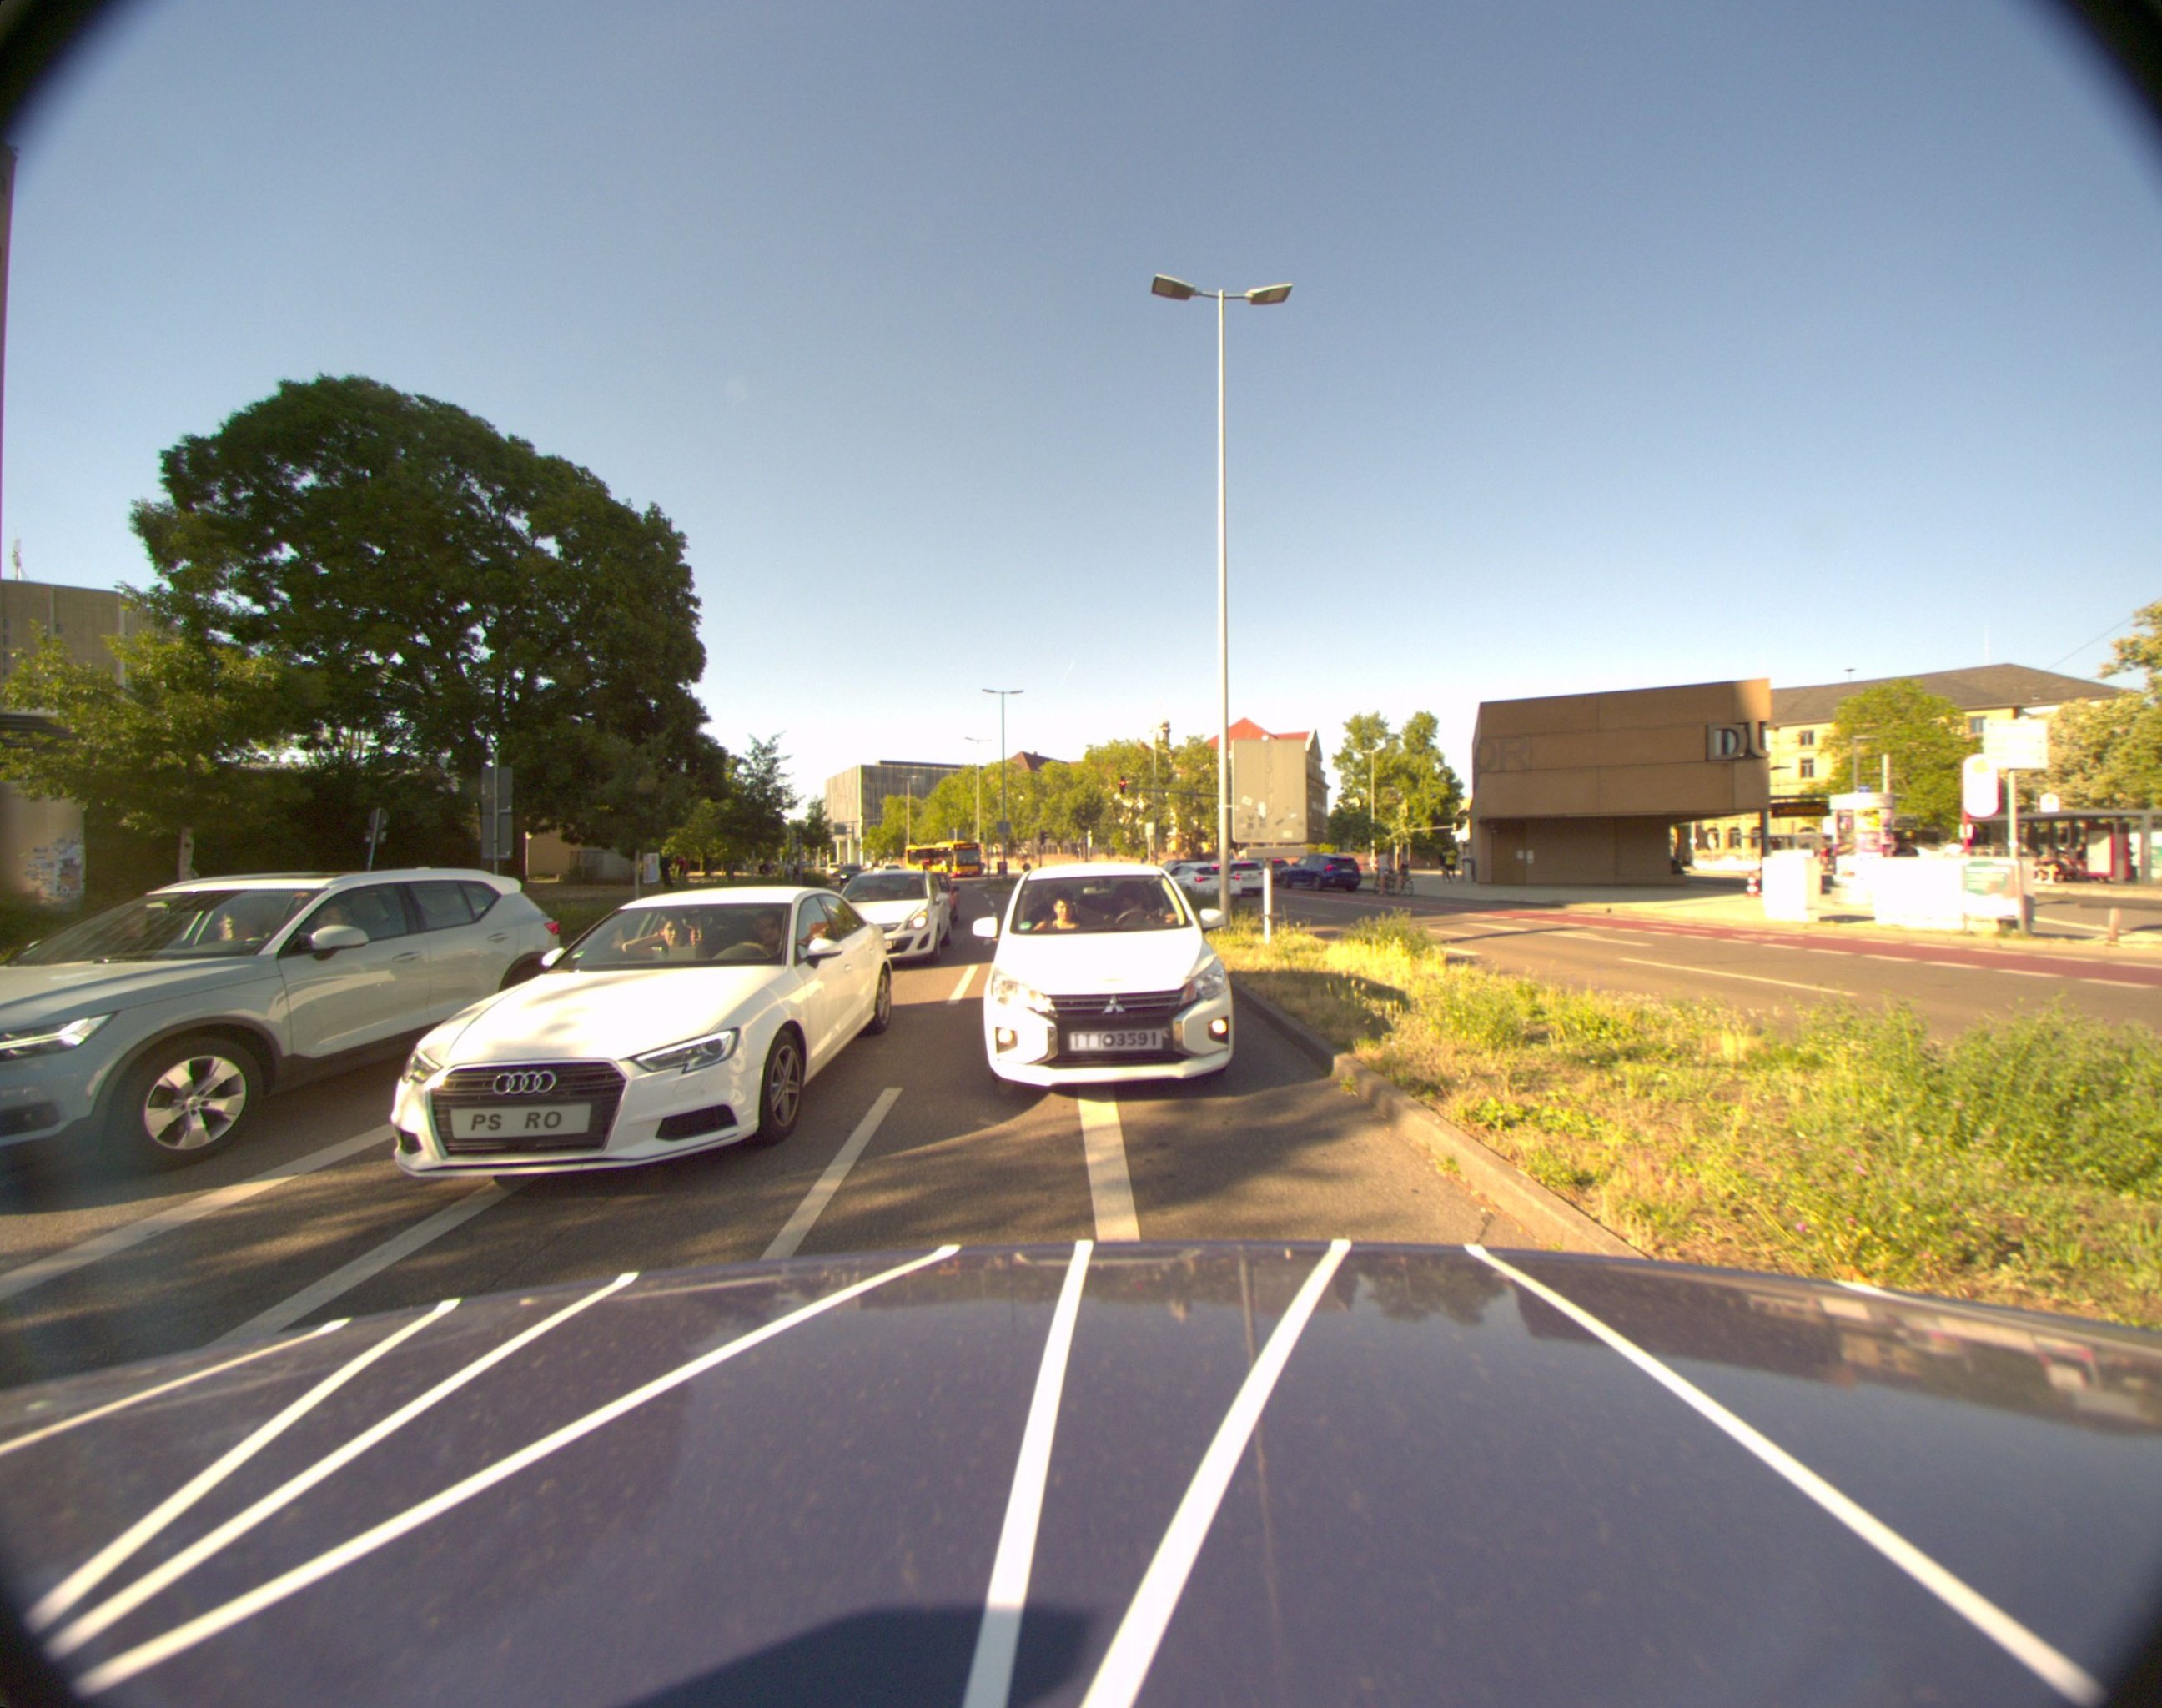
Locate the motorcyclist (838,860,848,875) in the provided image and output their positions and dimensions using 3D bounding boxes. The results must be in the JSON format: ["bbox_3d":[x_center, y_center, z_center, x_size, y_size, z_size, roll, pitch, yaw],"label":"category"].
[{"bbox_3d":[-21.966,1.253,70.136,0.719,1.297,0.734,-3,1,-21],"label":"motorcyclist"}]

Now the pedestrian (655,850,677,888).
[{"bbox_3d":[-17.886,0.639,32.773,0.596,1.585,0.594,-2,1,-8],"label":"pedestrian"}]

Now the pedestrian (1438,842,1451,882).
[{"bbox_3d":[18.428,0.379,38.531,0.467,2.002,0.657,-2,1,17],"label":"pedestrian"}]

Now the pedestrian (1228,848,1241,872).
[{"bbox_3d":[12.423,0.479,61.550,0.797,1.886,0.612,0,1,40],"label":"pedestrian"}]

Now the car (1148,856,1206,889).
[{"bbox_3d":[4.719,0.854,37.893,1.756,1.451,4.185,-2,1,-8],"label":"car"}]

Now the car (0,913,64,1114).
[{"bbox_3d":[-8.754,1.240,3.895,1.628,1.451,4.040,-2,1,-2],"label":"car"}]

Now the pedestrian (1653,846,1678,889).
[{"bbox_3d":[27.823,0.648,36.170,0.780,2.002,0.771,-3,2,-42],"label":"pedestrian"}]

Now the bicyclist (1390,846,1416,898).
[{"bbox_3d":[12.475,0.691,29.426,0.611,2.002,0.708,-1,1,-15],"label":"bicyclist"}]

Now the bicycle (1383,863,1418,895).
[{"bbox_3d":[12.440,0.977,29.615,0.464,1.185,1.395,-3,1,-17],"label":"bicycle"}]

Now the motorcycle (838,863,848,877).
[{"bbox_3d":[-22.009,1.472,70.193,0.719,1.297,2.231,-3,1,-21],"label":"motorcycle"}]

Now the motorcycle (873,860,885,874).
[{"bbox_3d":[-19.095,1.235,71.828,0.719,1.297,2.230,-3,1,-23],"label":"motorcycle"}]

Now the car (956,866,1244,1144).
[{"bbox_3d":[0.060,0.911,6.447,1.628,1.451,4.040,-2,1,-2],"label":"car"}]

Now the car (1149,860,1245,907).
[{"bbox_3d":[4.018,0.978,27.123,1.757,1.451,4.183,-2,1,-16],"label":"car"}]

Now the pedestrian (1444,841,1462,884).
[{"bbox_3d":[17.643,0.384,36.067,0.655,2.002,0.469,-2,1,20],"label":"pedestrian"}]

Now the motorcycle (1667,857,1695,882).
[{"bbox_3d":[26.243,0.699,33.253,0.948,1.061,0.331,-1,1,39],"label":"motorcycle"}]

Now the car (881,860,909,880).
[{"bbox_3d":[-15.200,1.255,61.872,1.758,1.451,4.182,-3,1,-19],"label":"car"}]

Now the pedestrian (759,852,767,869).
[{"bbox_3d":[-29.418,0.600,70.213,0.548,1.597,0.603,-3,1,-19],"label":"pedestrian"}]

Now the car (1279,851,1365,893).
[{"bbox_3d":[10.424,0.715,33.196,1.757,1.680,4.184,-1,0,-12],"label":"car"}]

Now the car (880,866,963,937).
[{"bbox_3d":[-3.894,1.095,19.110,1.628,1.451,4.039,-2,1,-7],"label":"car"}]

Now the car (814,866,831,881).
[{"bbox_3d":[-31.435,2.305,92.476,1.748,1.696,3.993,-1,0,-21],"label":"car"}]

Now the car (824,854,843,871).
[{"bbox_3d":[-26.320,0.907,80.779,1.748,1.696,3.993,-1,0,-21],"label":"car"}]

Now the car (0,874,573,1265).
[{"bbox_3d":[-5.746,1.051,5.270,1.628,1.611,4.223,-2,1,-2],"label":"car"}]

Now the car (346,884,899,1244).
[{"bbox_3d":[-2.550,1.034,5.403,1.628,1.396,3.832,-2,1,-2],"label":"car"}]

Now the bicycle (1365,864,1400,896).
[{"bbox_3d":[11.717,1.006,29.549,0.464,1.185,1.395,-3,1,-17],"label":"bicycle"}]

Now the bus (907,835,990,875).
[{"bbox_3d":[-12.168,0.101,68.312,3.091,3.193,12.515,-3,1,-30],"label":"bus"}]

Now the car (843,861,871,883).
[{"bbox_3d":[-16.524,1.313,56.209,1.757,1.451,4.183,-2,1,-14],"label":"car"}]

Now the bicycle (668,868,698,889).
[{"bbox_3d":[-20.255,1.235,38.700,0.660,0.958,2.033,0,1,-7],"label":"bicycle"}]

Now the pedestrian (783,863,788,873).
[{"bbox_3d":[-39.610,1.868,101.872,0.439,1.231,0.495,-1,1,1],"label":"pedestrian"}]

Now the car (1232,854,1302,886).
[{"bbox_3d":[9.490,0.786,39.108,1.850,1.483,4.388,1,0,-10],"label":"car"}]

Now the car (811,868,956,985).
[{"bbox_3d":[-3.071,1.047,12.592,1.628,1.451,4.039,-2,1,-5],"label":"car"}]

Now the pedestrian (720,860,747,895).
[{"bbox_3d":[-17.827,1.191,39.012,1.010,1.711,0.884,-2,1,-10],"label":"pedestrian"}]

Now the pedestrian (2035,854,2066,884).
[{"bbox_3d":[38.955,0.606,30.538,0.539,1.180,0.659,-2,1,29],"label":"pedestrian"}]

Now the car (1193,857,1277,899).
[{"bbox_3d":[6.191,0.938,31.154,1.850,1.483,4.388,-2,1,-10],"label":"car"}]

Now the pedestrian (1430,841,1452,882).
[{"bbox_3d":[17.748,0.375,37.500,0.777,2.002,0.773,-2,1,13],"label":"pedestrian"}]

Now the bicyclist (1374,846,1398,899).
[{"bbox_3d":[11.747,0.711,29.286,0.611,2.002,0.565,-1,1,-15],"label":"bicyclist"}]

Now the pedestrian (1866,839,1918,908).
[{"bbox_3d":[21.107,0.507,19.785,0.713,1.748,0.583,-2,1,20],"label":"pedestrian"}]

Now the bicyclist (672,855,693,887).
[{"bbox_3d":[-20.250,0.863,38.633,0.617,1.551,0.870,-2,1,-8],"label":"bicyclist"}]

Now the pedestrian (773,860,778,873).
[{"bbox_3d":[-41.523,1.704,103.301,0.399,1.676,0.483,-1,1,1],"label":"pedestrian"}]

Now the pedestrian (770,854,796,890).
[{"bbox_3d":[-17.401,1.042,44.406,1.143,2.002,1.285,-2,1,-10],"label":"pedestrian"}]

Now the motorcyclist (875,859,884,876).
[{"bbox_3d":[-19.005,1.275,71.705,0.712,1.581,0.689,-3,1,-23],"label":"motorcyclist"}]

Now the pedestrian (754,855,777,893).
[{"bbox_3d":[-16.939,1.065,40.794,0.895,2.002,0.881,-2,1,-10],"label":"pedestrian"}]

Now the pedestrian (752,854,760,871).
[{"bbox_3d":[-29.944,0.750,69.987,0.548,1.521,0.603,-3,1,-19],"label":"pedestrian"}]

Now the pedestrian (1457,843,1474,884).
[{"bbox_3d":[19.109,0.448,37.726,0.655,2.002,0.469,-2,1,20],"label":"pedestrian"}]
